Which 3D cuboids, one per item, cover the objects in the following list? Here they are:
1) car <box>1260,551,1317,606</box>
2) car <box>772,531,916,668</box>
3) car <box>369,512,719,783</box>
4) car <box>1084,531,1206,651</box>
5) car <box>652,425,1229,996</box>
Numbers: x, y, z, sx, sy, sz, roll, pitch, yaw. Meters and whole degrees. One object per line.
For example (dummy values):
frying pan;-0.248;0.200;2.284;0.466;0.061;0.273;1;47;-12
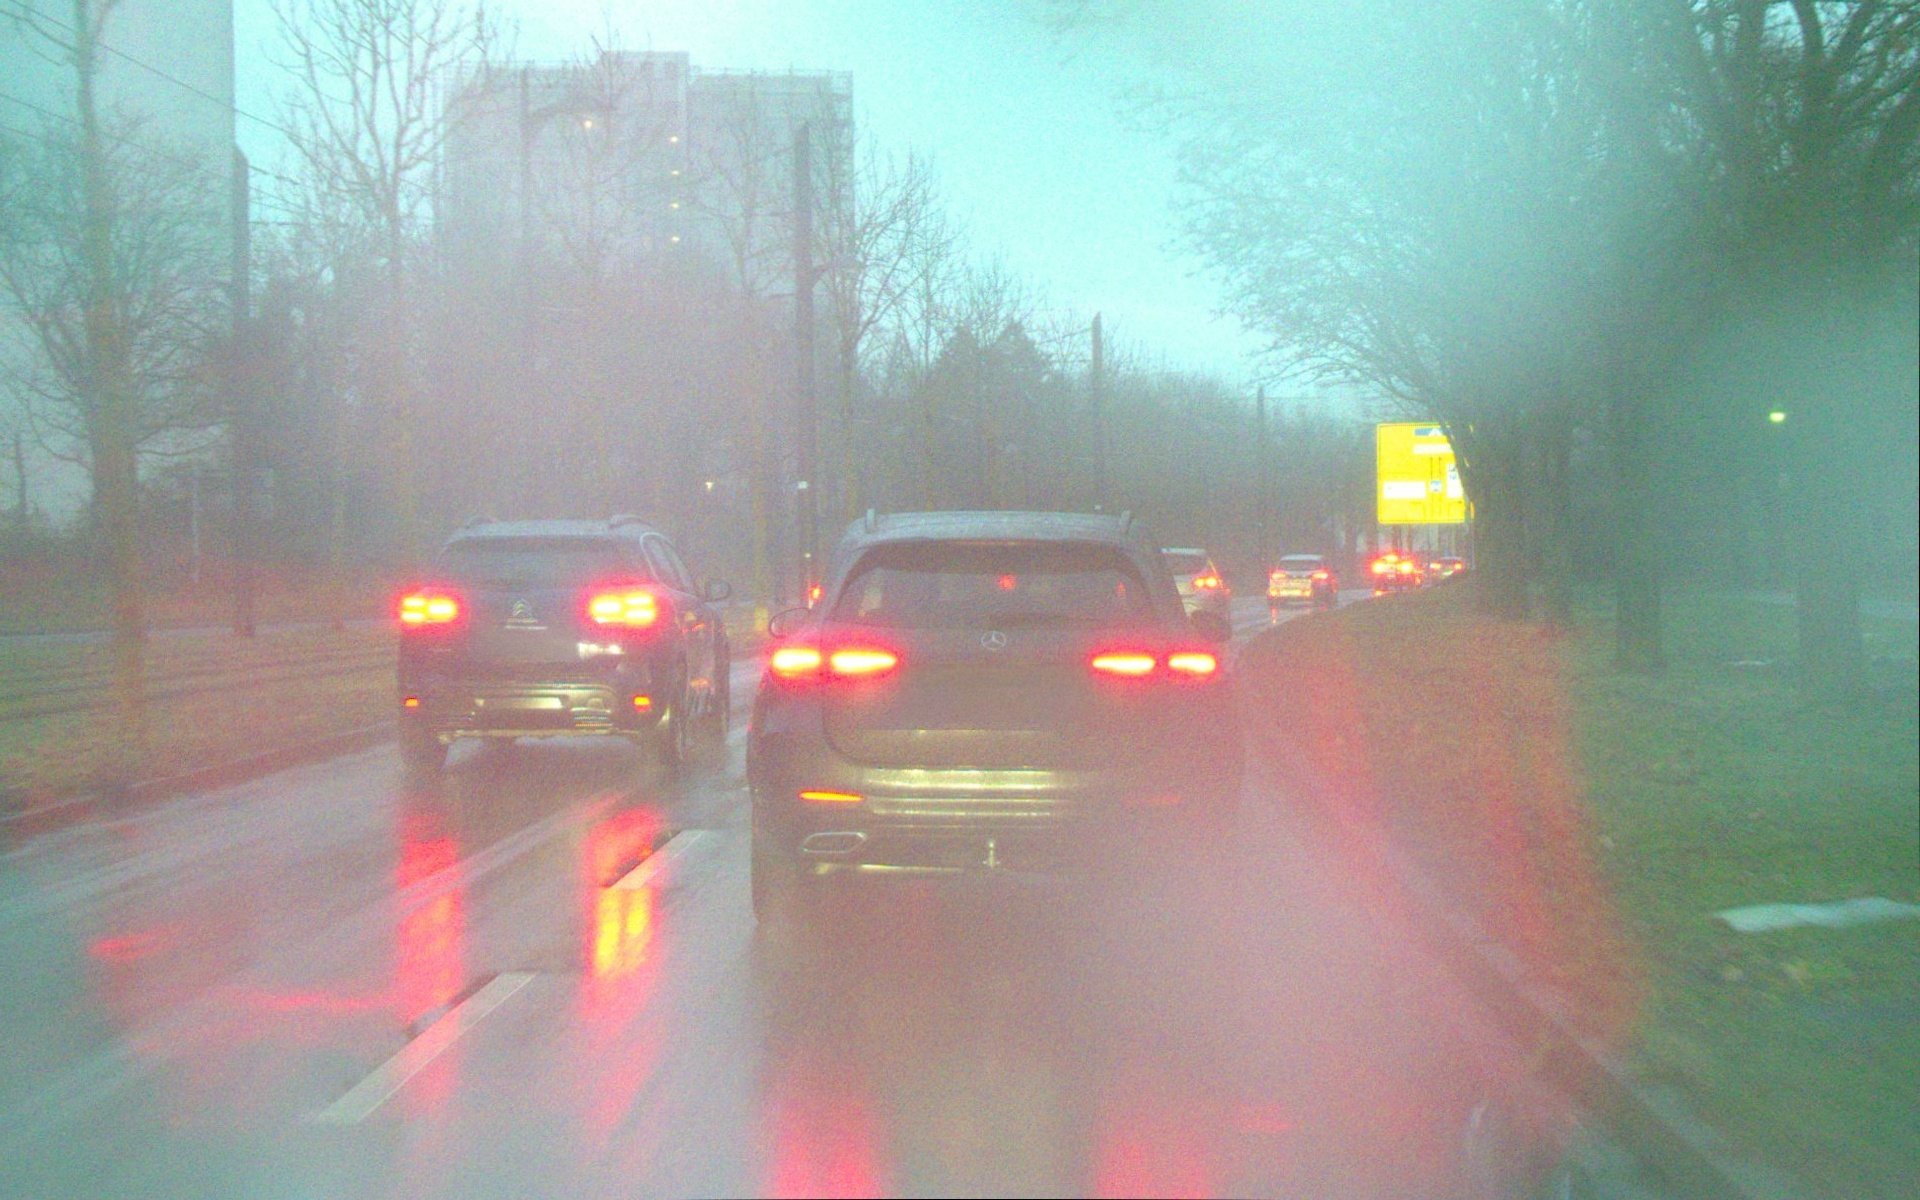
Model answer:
car;9.521;-0.612;99.526;1.535;1.508;3.341;0;-1;7
car;-1.549;-0.036;46.010;1.827;1.733;3.806;1;1;-2
car;-2.800;0.321;24.071;1.993;1.706;4.324;1;-1;-1
car;2.994;-0.129;56.379;1.856;1.885;4.000;1;-1;1
car;0.005;0.401;14.021;1.993;1.969;4.068;1;-1;2
